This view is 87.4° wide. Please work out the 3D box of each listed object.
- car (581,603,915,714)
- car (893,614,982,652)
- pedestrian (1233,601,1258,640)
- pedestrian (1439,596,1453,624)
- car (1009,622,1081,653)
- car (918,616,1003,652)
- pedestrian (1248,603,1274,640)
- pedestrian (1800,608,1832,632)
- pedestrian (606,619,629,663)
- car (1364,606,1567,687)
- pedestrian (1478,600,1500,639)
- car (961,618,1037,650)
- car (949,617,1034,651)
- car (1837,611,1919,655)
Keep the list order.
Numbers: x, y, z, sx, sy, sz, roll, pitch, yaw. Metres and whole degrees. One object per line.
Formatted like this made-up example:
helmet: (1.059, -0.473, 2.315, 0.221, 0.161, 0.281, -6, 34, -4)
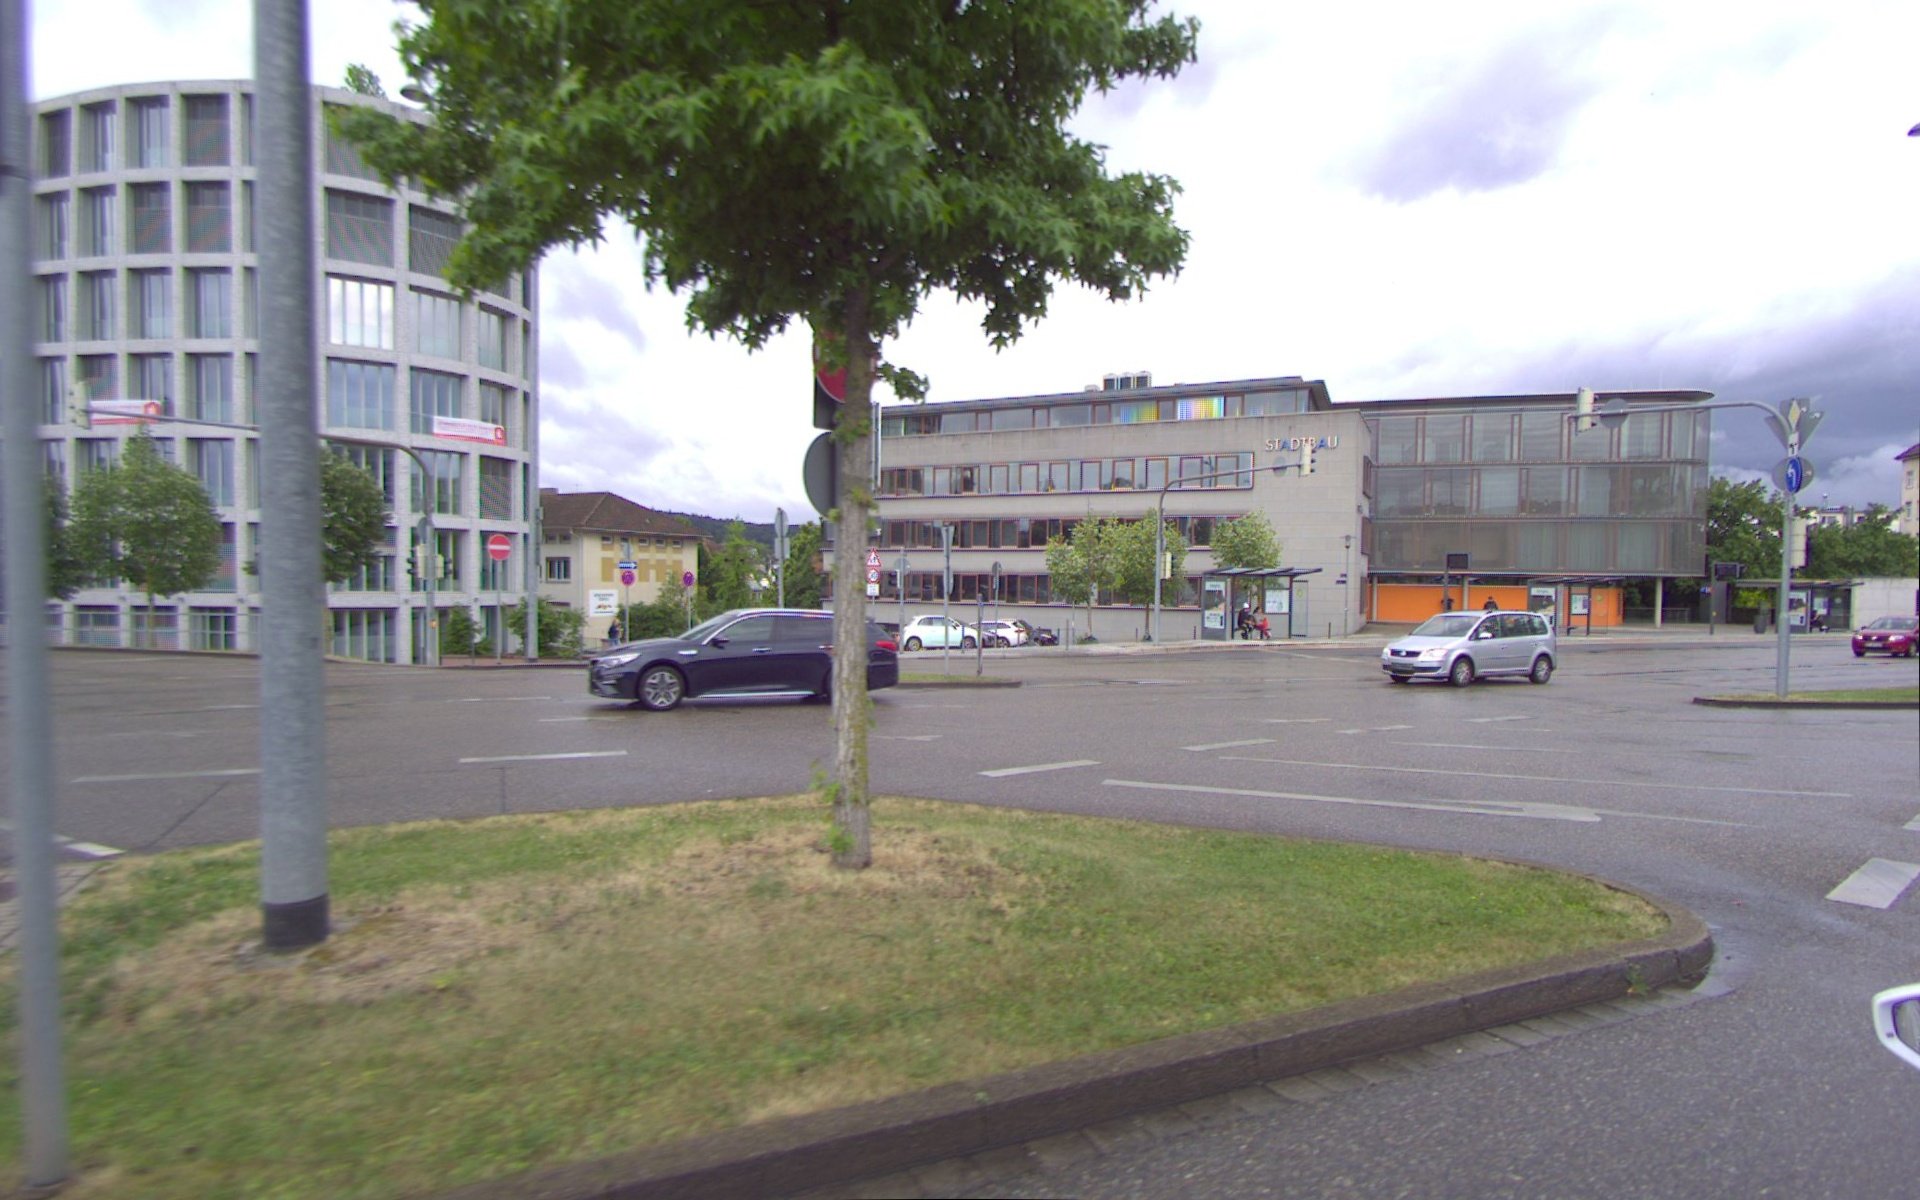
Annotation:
car: (-3.293, 0.844, 15.745, 4.852, 1.524, 1.842, 1, 0, -25)
car: (-0.950, 1.368, 41.841, 3.518, 1.515, 1.630, 0, 0, -10)
pedestrian: (11.048, 0.801, 38.858, 0.618, 1.488, 0.675, 1, 0, -27)
pedestrian: (30.597, 0.631, 63.257, 0.630, 1.706, 0.476, 0, 0, 6)
car: (4.453, 1.946, 52.700, 3.515, 1.515, 1.631, 1, 0, -7)
car: (0.009, 1.465, 43.968, 3.518, 1.515, 1.630, 0, 0, -10)
pedestrian: (11.716, 0.846, 39.108, 0.712, 1.411, 0.675, 1, 0, -27)
pedestrian: (46.756, 1.087, 54.852, 0.833, 1.285, 0.978, 0, 4, -4)
pedestrian: (-12.850, 1.536, 37.658, 0.696, 1.604, 0.668, 1, 0, -27)
car: (11.417, 0.999, 22.670, 4.360, 1.674, 1.841, 1, 0, -26)
pedestrian: (23.220, 0.846, 44.127, 0.751, 1.706, 0.473, 0, 0, -19)
car: (1.938, 1.672, 49.604, 3.510, 1.515, 1.634, 0, 0, 13)
car: (1.479, 1.593, 47.083, 3.711, 1.515, 1.767, 0, 0, 13)
car: (35.002, 1.200, 37.581, 3.977, 1.572, 1.818, 0, 0, -24)
